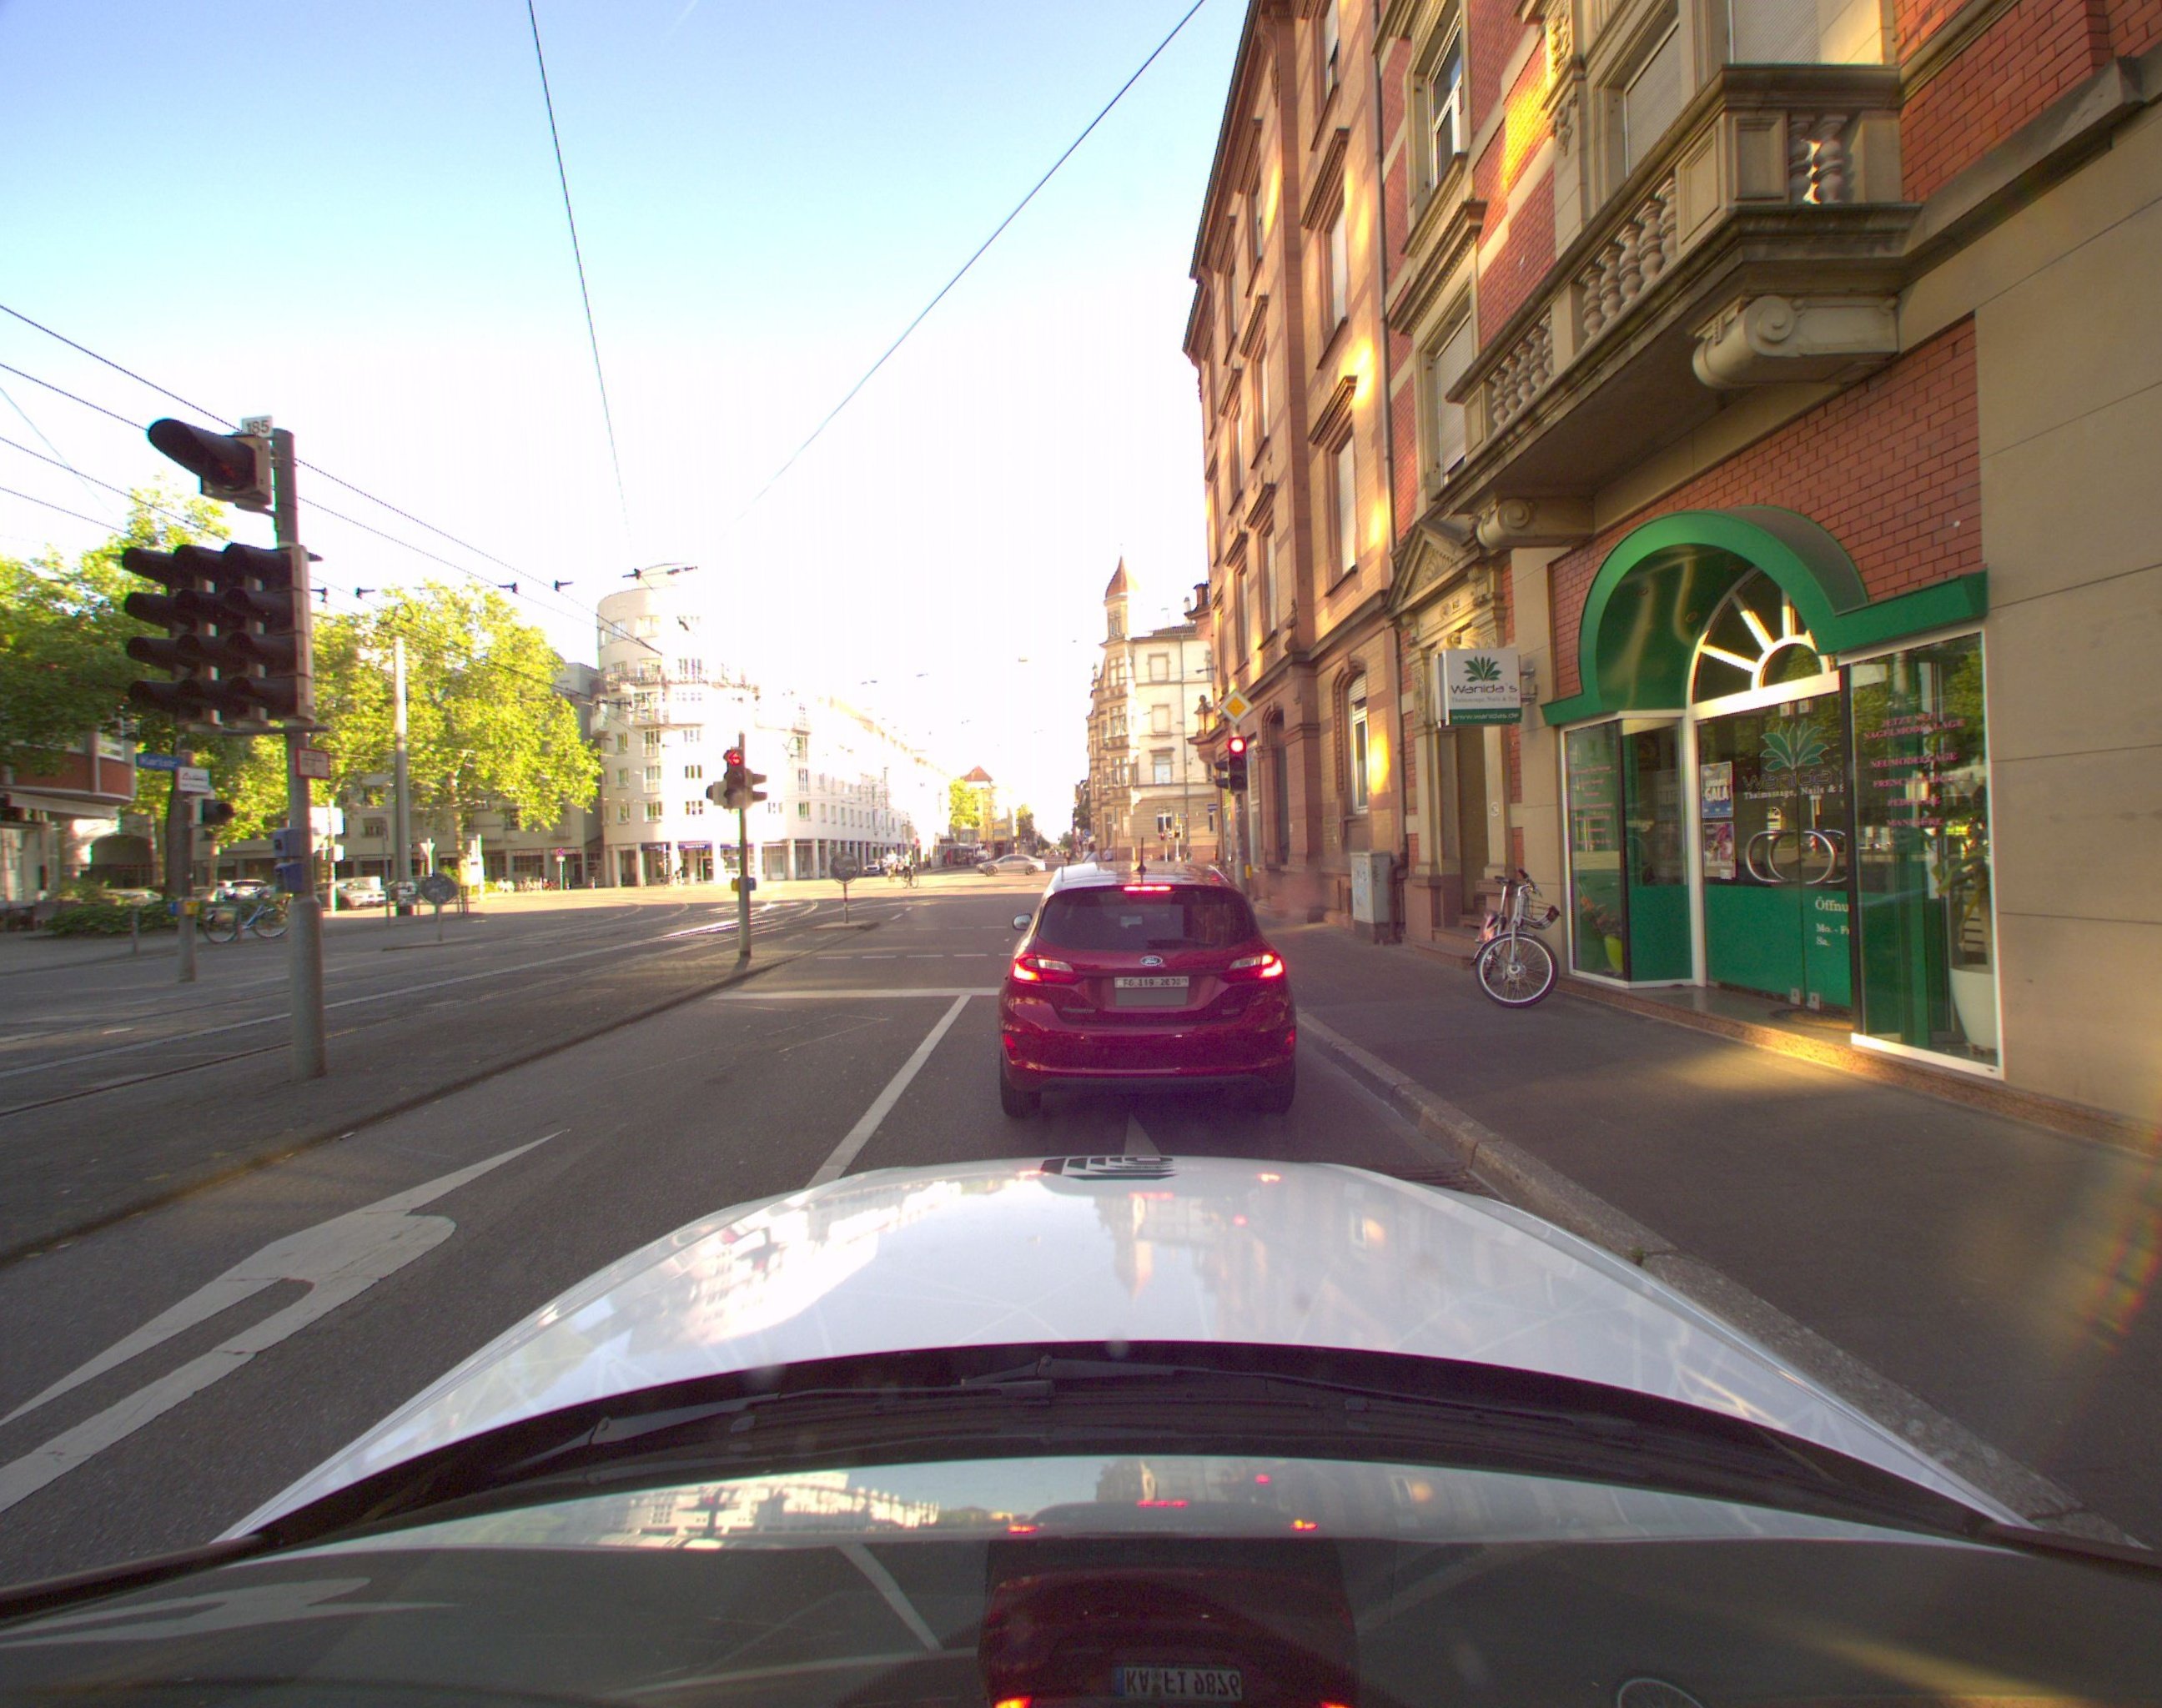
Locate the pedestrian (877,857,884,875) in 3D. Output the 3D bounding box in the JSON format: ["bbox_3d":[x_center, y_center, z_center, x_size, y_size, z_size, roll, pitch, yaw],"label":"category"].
[{"bbox_3d":[-18.156,1.081,73.793,0.524,1.681,0.484,-2,0,-8],"label":"pedestrian"}]

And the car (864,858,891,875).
[{"bbox_3d":[-20.139,1.216,80.555,1.760,1.546,3.460,-2,0,0],"label":"car"}]

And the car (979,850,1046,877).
[{"bbox_3d":[-4.712,0.636,55.852,4.445,1.641,1.698,-2,0,-11],"label":"car"}]

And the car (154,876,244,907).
[{"bbox_3d":[-63.336,2.682,58.597,1.986,1.964,4.001,-2,0,1],"label":"car"}]

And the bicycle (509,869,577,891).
[{"bbox_3d":[-42.858,2.044,64.888,4.685,1.530,1.067,-2,0,2],"label":"bicycle"}]

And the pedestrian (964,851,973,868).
[{"bbox_3d":[-14.252,0.703,103.369,1.043,2.013,0.958,-2,0,-3],"label":"pedestrian"}]

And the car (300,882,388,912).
[{"bbox_3d":[-36.932,2.148,40.817,3.968,1.295,1.781,-2,0,24],"label":"car"}]

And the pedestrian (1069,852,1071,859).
[{"bbox_3d":[-2.748,0.341,204.165,0.575,1.887,0.669,-2,0,-1],"label":"pedestrian"}]

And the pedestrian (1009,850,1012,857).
[{"bbox_3d":[-17.107,-0.191,197.426,0.630,1.604,0.575,-2,0,-18],"label":"pedestrian"}]

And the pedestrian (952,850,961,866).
[{"bbox_3d":[-15.784,0.473,103.277,1.043,2.013,0.958,-2,0,-3],"label":"pedestrian"}]

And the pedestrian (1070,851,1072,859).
[{"bbox_3d":[-2.457,0.266,200.656,0.575,1.887,0.630,-2,0,-1],"label":"pedestrian"}]

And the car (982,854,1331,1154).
[{"bbox_3d":[0.303,0.743,6.049,1.750,1.466,3.941,-1,0,-3],"label":"car"}]

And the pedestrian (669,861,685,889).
[{"bbox_3d":[-29.647,1.533,59.767,0.949,2.013,0.931,-2,0,-29],"label":"pedestrian"}]

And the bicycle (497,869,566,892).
[{"bbox_3d":[-43.019,2.063,63.750,4.685,1.530,1.067,-2,0,2],"label":"bicycle"}]

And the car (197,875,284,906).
[{"bbox_3d":[-60.417,2.591,58.614,1.986,1.964,4.001,-2,0,1],"label":"car"}]

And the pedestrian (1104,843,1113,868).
[{"bbox_3d":[2.174,0.118,64.225,0.649,2.013,0.759,-2,0,-2],"label":"pedestrian"}]

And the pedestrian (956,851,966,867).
[{"bbox_3d":[-15.537,0.590,105.431,1.043,2.013,0.958,-2,0,-3],"label":"pedestrian"}]

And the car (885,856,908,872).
[{"bbox_3d":[-20.131,1.081,88.967,1.696,1.718,3.562,-2,0,-1],"label":"car"}]

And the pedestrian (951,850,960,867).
[{"bbox_3d":[-15.570,0.553,101.089,0.953,2.013,1.048,-2,0,-1],"label":"pedestrian"}]

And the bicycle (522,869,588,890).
[{"bbox_3d":[-42.862,2.053,66.440,4.685,1.530,1.067,-2,0,2],"label":"bicycle"}]

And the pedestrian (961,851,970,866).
[{"bbox_3d":[-15.370,0.594,108.455,0.954,2.013,1.047,-2,0,-3],"label":"pedestrian"}]

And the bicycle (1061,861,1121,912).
[{"bbox_3d":[0.272,0.781,20.429,0.620,1.177,2.037,-1,0,28],"label":"bicycle"}]

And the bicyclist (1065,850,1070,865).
[{"bbox_3d":[-1.492,0.372,90.526,0.498,1.676,0.545,-2,0,1],"label":"bicyclist"}]

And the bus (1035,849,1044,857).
[{"bbox_3d":[-11.182,-0.289,217.682,1.919,2.013,7.137,-2,0,1],"label":"bus"}]

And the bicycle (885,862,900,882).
[{"bbox_3d":[-11.588,1.076,49.997,0.809,1.147,1.999,-2,0,-16],"label":"bicycle"}]

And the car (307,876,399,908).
[{"bbox_3d":[-40.254,2.114,45.050,3.978,1.559,1.636,-2,0,11],"label":"car"}]

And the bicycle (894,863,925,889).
[{"bbox_3d":[-8.110,1.035,38.449,0.813,1.147,2.029,-2,0,-30],"label":"bicycle"}]

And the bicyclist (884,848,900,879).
[{"bbox_3d":[-11.570,0.575,49.842,0.809,1.821,0.988,-2,0,-16],"label":"bicyclist"}]

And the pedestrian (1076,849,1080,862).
[{"bbox_3d":[-0.544,0.270,134.793,0.574,2.013,0.632,-2,0,5],"label":"pedestrian"}]

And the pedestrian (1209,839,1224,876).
[{"bbox_3d":[6.648,0.170,40.044,0.558,1.755,0.650,-3,0,1],"label":"pedestrian"}]

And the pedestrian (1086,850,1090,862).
[{"bbox_3d":[1.037,0.307,120.593,0.412,1.680,0.485,-2,0,1],"label":"pedestrian"}]

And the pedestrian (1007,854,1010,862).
[{"bbox_3d":[-14.476,0.835,163.187,0.522,1.488,0.583,-2,0,1],"label":"pedestrian"}]

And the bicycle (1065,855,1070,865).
[{"bbox_3d":[-1.480,0.670,90.705,0.524,1.089,1.487,-2,0,1],"label":"bicycle"}]

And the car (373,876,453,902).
[{"bbox_3d":[-44.191,2.316,53.934,3.969,1.531,1.618,-2,0,4],"label":"car"}]

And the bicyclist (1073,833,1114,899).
[{"bbox_3d":[0.325,0.301,20.559,0.756,1.627,0.736,-1,0,27],"label":"bicyclist"}]

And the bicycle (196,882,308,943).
[{"bbox_3d":[-19.761,1.363,19.478,0.668,1.327,1.907,1,0,2],"label":"bicycle"}]

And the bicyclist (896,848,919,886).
[{"bbox_3d":[-8.239,0.614,38.637,0.813,1.726,0.786,-2,0,-30],"label":"bicyclist"}]

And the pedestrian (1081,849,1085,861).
[{"bbox_3d":[0.310,0.214,134.946,0.574,2.013,0.632,-2,0,5],"label":"pedestrian"}]

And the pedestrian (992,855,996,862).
[{"bbox_3d":[-17.789,0.870,166.280,0.579,1.488,0.525,-2,0,-3],"label":"pedestrian"}]

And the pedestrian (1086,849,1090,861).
[{"bbox_3d":[1.148,0.201,134.831,0.574,2.013,0.632,-2,0,5],"label":"pedestrian"}]

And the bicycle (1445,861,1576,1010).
[{"bbox_3d":[3.863,0.680,7.454,0.710,1.152,1.662,-4,0,17],"label":"bicycle"}]
